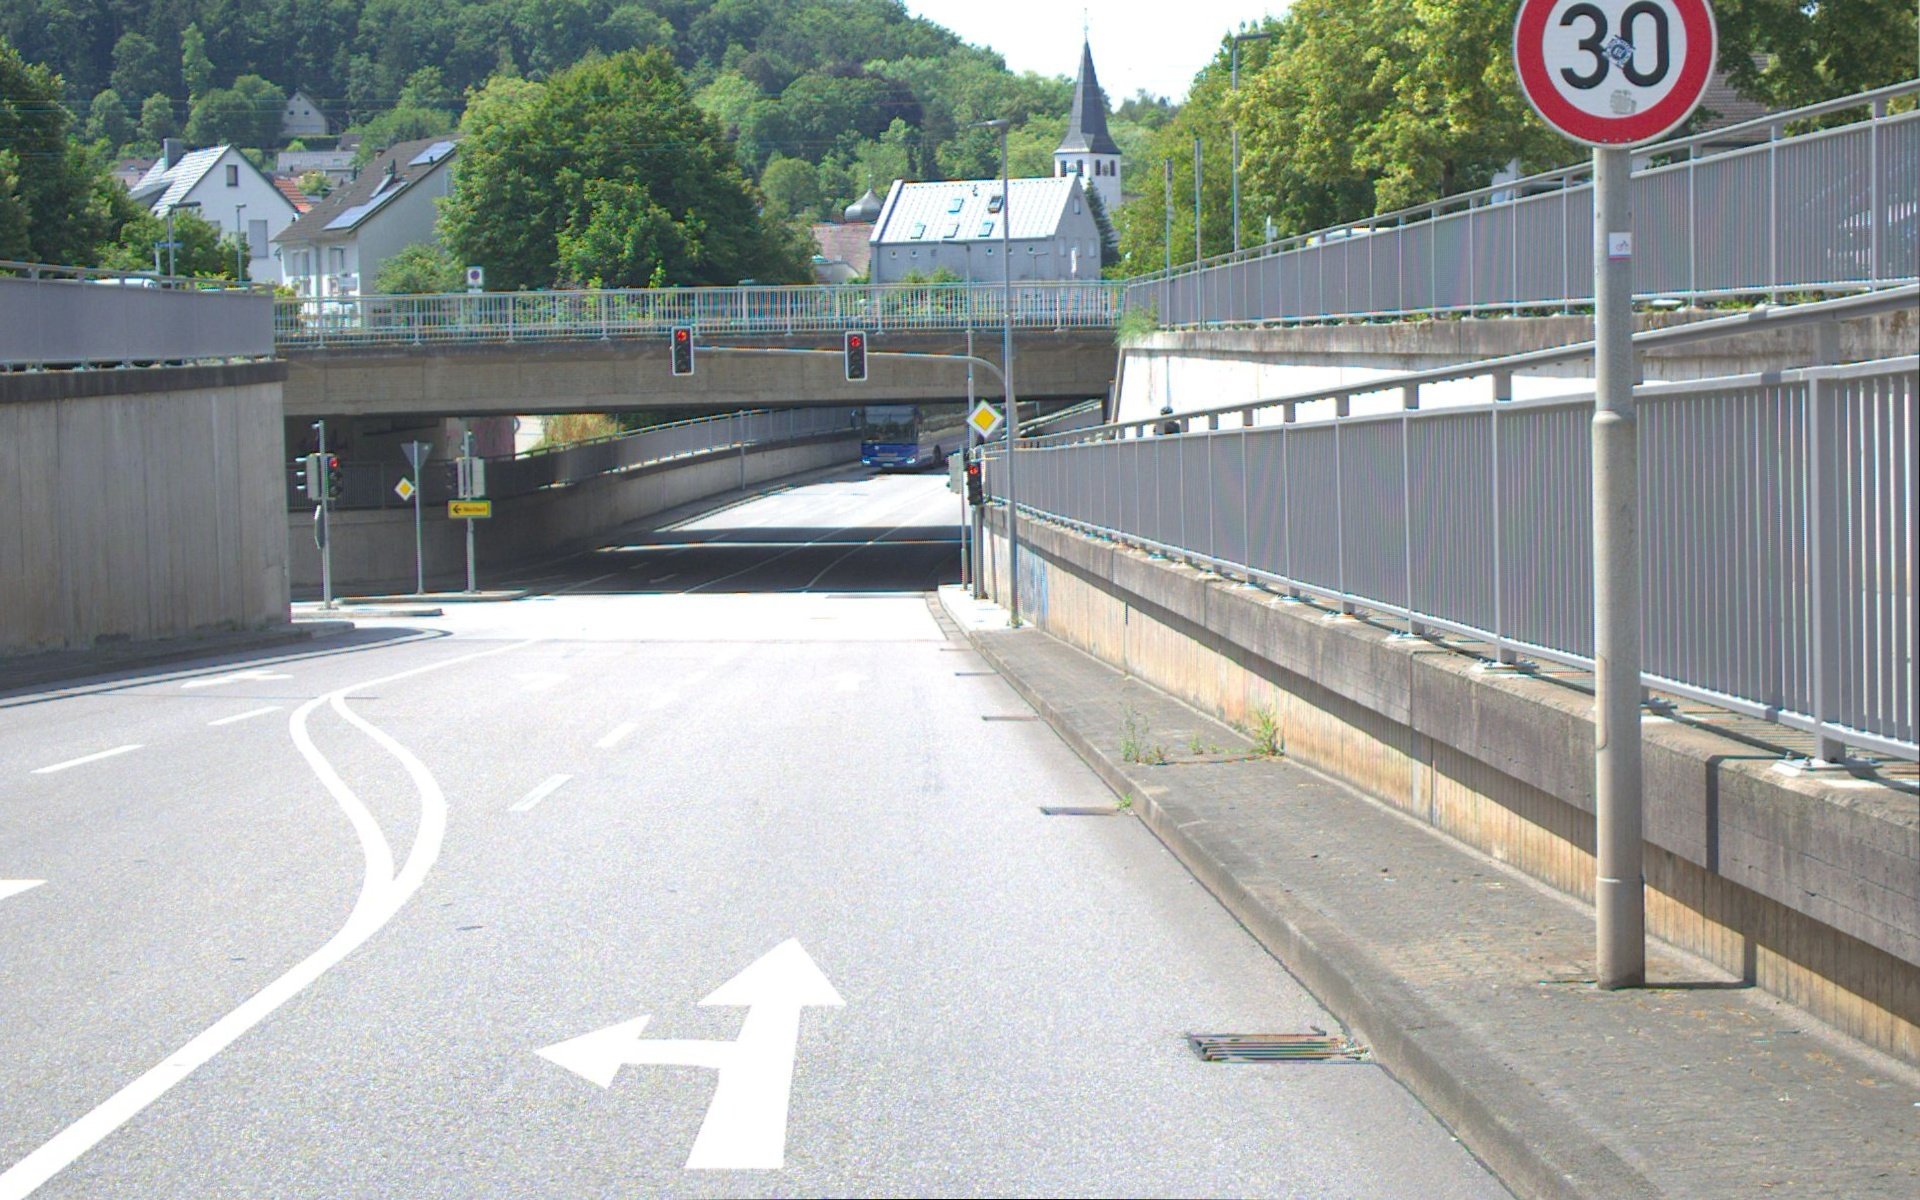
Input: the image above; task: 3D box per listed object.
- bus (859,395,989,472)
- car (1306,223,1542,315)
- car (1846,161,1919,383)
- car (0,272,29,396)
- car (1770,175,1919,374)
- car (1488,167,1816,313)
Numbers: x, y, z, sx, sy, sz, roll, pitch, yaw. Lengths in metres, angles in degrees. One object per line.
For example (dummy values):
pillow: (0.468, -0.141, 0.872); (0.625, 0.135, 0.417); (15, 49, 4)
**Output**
bus: (-1.444, -7.199, 147.530); (2.582, 3.161, 12.371); (1, 3, 14)
car: (8.183, -5.848, 60.867); (3.987, 1.481, 1.770); (0, 1, 2)
car: (8.904, -2.450, 25.968); (3.987, 1.550, 1.724); (0, 1, 2)
car: (-12.672, -3.239, 41.644); (1.798, 1.519, 4.394); (0, 3, -3)
car: (9.013, -2.714, 28.945); (3.987, 1.550, 1.724); (0, 1, 2)
car: (9.078, -4.728, 45.327); (3.987, 1.764, 1.770); (0, 1, 2)
